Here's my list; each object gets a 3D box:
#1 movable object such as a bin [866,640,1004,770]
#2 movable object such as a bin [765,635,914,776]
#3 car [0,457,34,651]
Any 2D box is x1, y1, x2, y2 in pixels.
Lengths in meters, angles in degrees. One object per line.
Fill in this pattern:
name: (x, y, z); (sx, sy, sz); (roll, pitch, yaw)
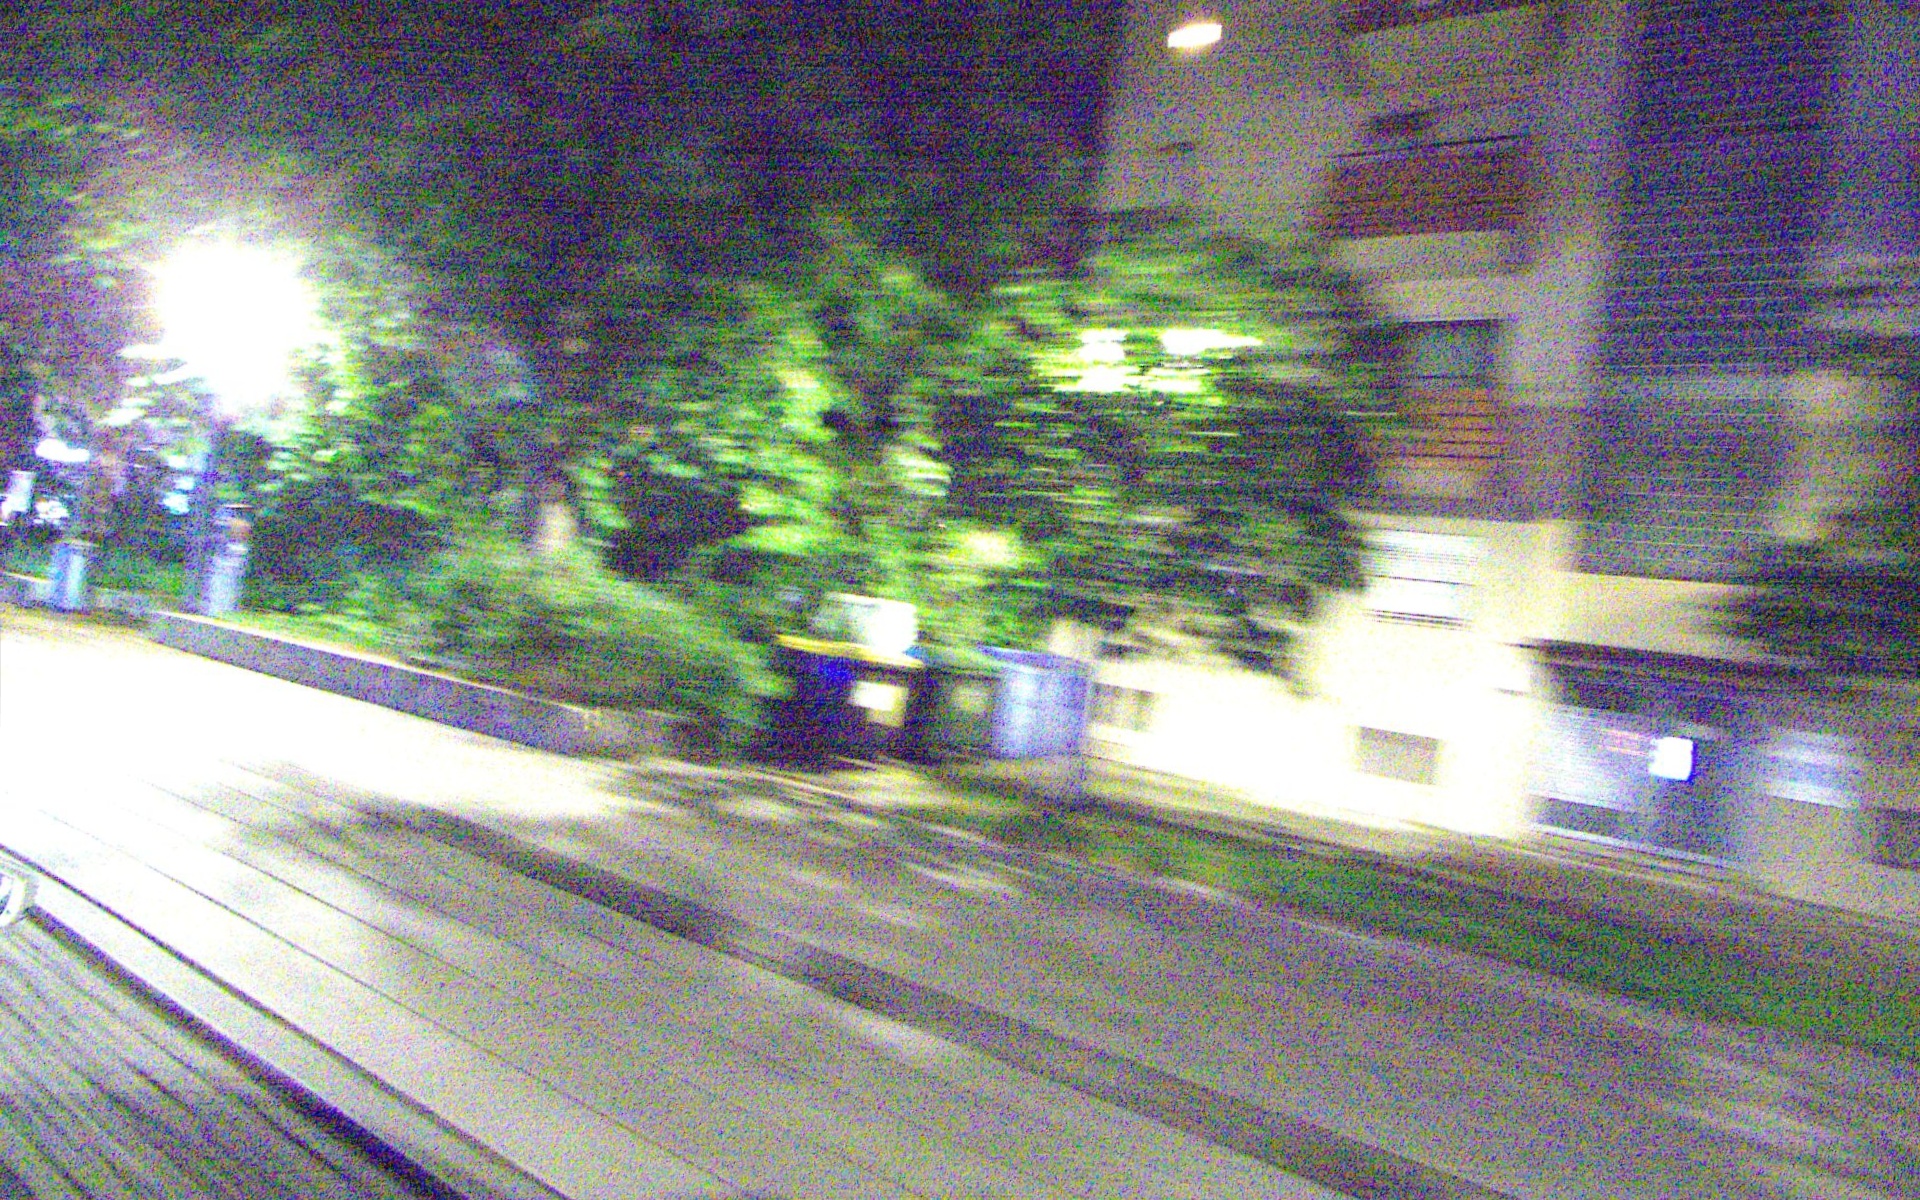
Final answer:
movable object such as a bin: (-0.298, 1.327, 12.792); (1.099, 1.436, 1.263); (6, -2, 31)
movable object such as a bin: (-1.286, 1.151, 10.936); (0.993, 1.320, 1.108); (6, -4, 29)
car: (-11.437, -0.723, 10.091); (4.273, 1.849, 1.820); (6, -2, 30)
